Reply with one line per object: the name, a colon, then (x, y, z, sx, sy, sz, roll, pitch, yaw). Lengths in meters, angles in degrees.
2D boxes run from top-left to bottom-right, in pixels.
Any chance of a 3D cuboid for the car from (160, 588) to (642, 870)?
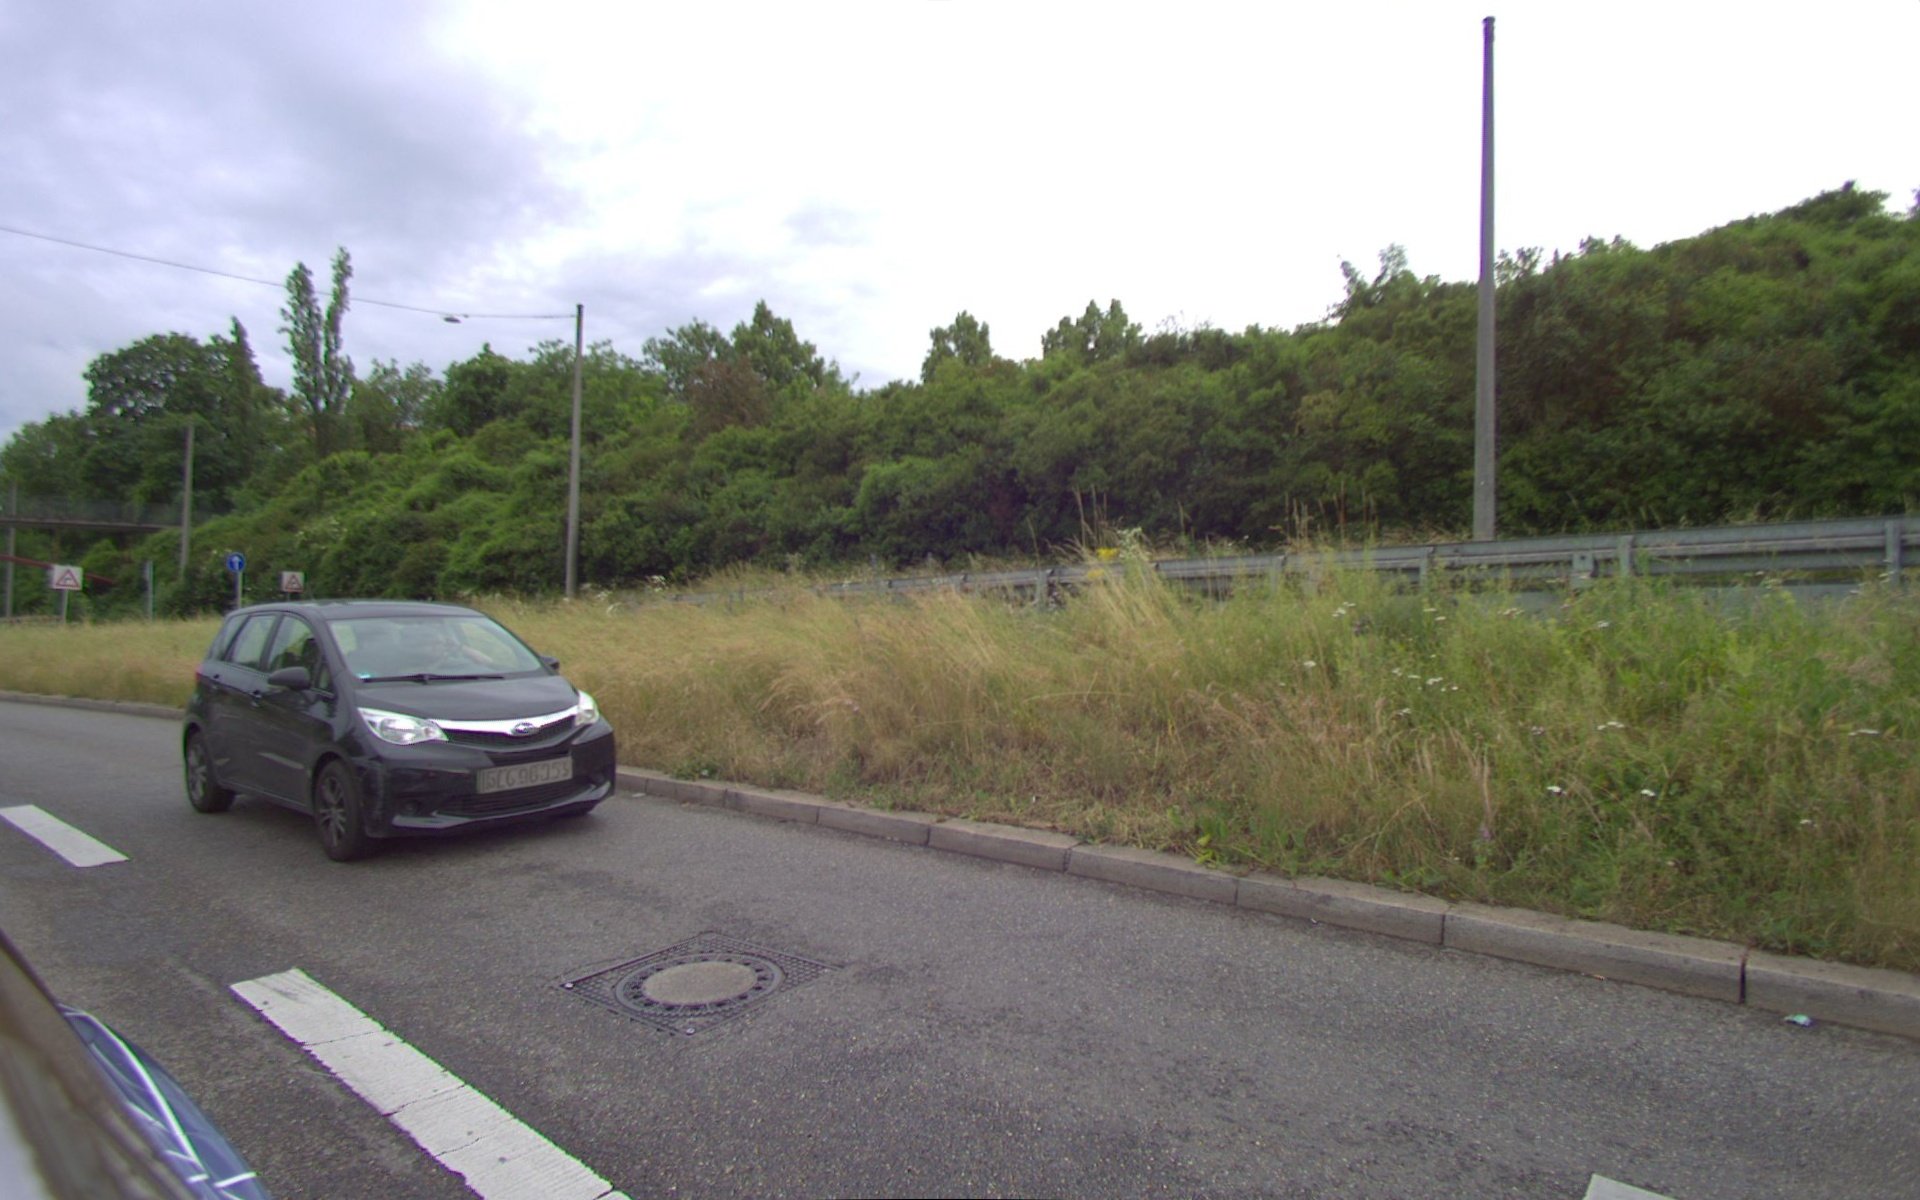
car: (-4.116, 0.742, 7.244, 3.771, 1.516, 1.627, -2, -1, 37)
